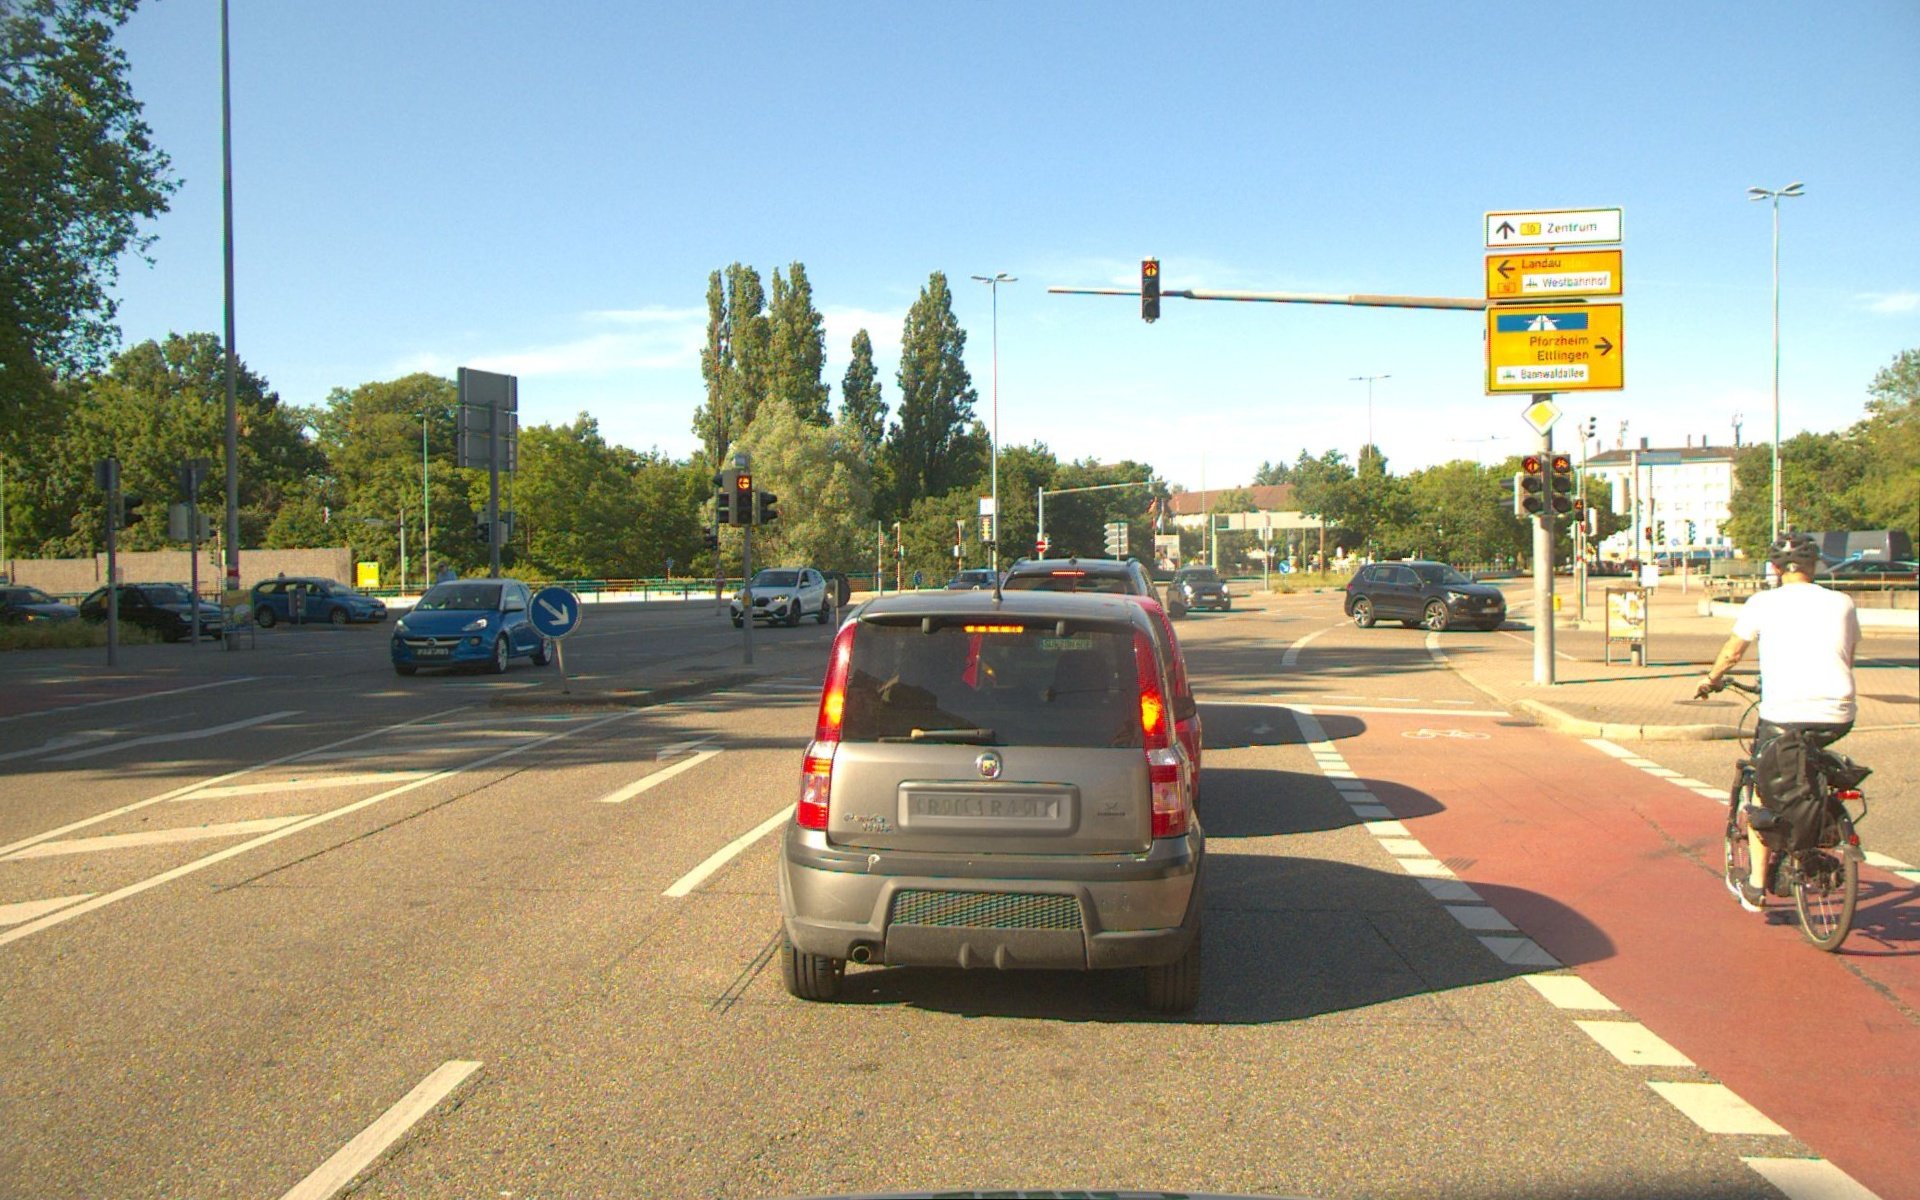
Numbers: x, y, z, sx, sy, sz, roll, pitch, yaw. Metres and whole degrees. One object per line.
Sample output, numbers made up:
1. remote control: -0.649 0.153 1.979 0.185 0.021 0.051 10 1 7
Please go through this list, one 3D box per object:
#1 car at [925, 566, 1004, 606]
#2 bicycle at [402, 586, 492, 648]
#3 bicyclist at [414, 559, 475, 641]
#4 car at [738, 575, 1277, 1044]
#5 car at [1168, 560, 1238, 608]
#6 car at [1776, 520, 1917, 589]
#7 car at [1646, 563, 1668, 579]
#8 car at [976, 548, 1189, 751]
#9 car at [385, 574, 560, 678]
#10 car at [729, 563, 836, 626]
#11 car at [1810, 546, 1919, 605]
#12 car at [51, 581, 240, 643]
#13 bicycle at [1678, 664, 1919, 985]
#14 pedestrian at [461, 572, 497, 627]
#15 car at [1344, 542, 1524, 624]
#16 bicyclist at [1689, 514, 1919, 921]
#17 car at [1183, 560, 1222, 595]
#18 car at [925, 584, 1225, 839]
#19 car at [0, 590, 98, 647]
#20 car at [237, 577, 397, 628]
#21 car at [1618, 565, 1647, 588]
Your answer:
1. car: 0.209 -0.521 63.955 1.652 1.482 3.912 -1 -1 23
2. bicycle: -11.177 0.354 36.132 0.672 1.223 2.329 -1 2 16
3. bicyclist: -11.212 -0.015 36.028 0.672 1.730 1.199 -1 2 16
4. car: 0.280 0.676 7.600 1.782 1.515 4.002 2 1 4
5. car: 8.255 -0.520 56.484 1.952 1.479 4.001 1 -2 2
6. car: 37.573 -1.893 70.229 2.236 2.653 4.824 2 -2 -35
7. car: 77.790 -3.259 184.552 1.955 1.668 3.996 -1 1 27
8. car: 1.412 0.404 17.336 1.829 1.821 4.418 1 1 9
9. car: -7.928 0.359 27.301 1.784 1.529 4.448 -1 1 -4
10. car: -4.986 -0.180 47.057 1.794 1.682 4.633 -1 1 10
11. car: 34.090 -0.874 61.679 3.924 2.049 1.990 -1 -2 39
12. car: -20.423 0.311 41.489 4.346 1.464 1.826 -1 1 23
13. bicycle: 3.883 0.928 7.698 0.783 1.130 2.403 1 1 19
14. pedestrian: -14.137 -0.003 48.664 0.673 1.565 1.365 0 -3 -2
15. car: 11.773 -0.370 41.327 1.969 1.868 4.323 1 -2 -26
16. bicyclist: 3.884 0.491 7.690 0.783 1.734 1.085 1 0 19
17. car: 11.051 -1.051 75.174 1.713 1.519 4.354 0 2 9
18. car: 0.839 0.648 11.886 1.782 1.505 4.002 0 0 5
19. car: -25.769 0.505 44.919 4.346 1.464 1.826 -1 1 23
20. car: -19.969 0.073 51.422 4.341 1.464 1.828 -1 1 13
21. car: 60.630 -2.106 149.074 1.956 1.825 3.992 0 -2 30
